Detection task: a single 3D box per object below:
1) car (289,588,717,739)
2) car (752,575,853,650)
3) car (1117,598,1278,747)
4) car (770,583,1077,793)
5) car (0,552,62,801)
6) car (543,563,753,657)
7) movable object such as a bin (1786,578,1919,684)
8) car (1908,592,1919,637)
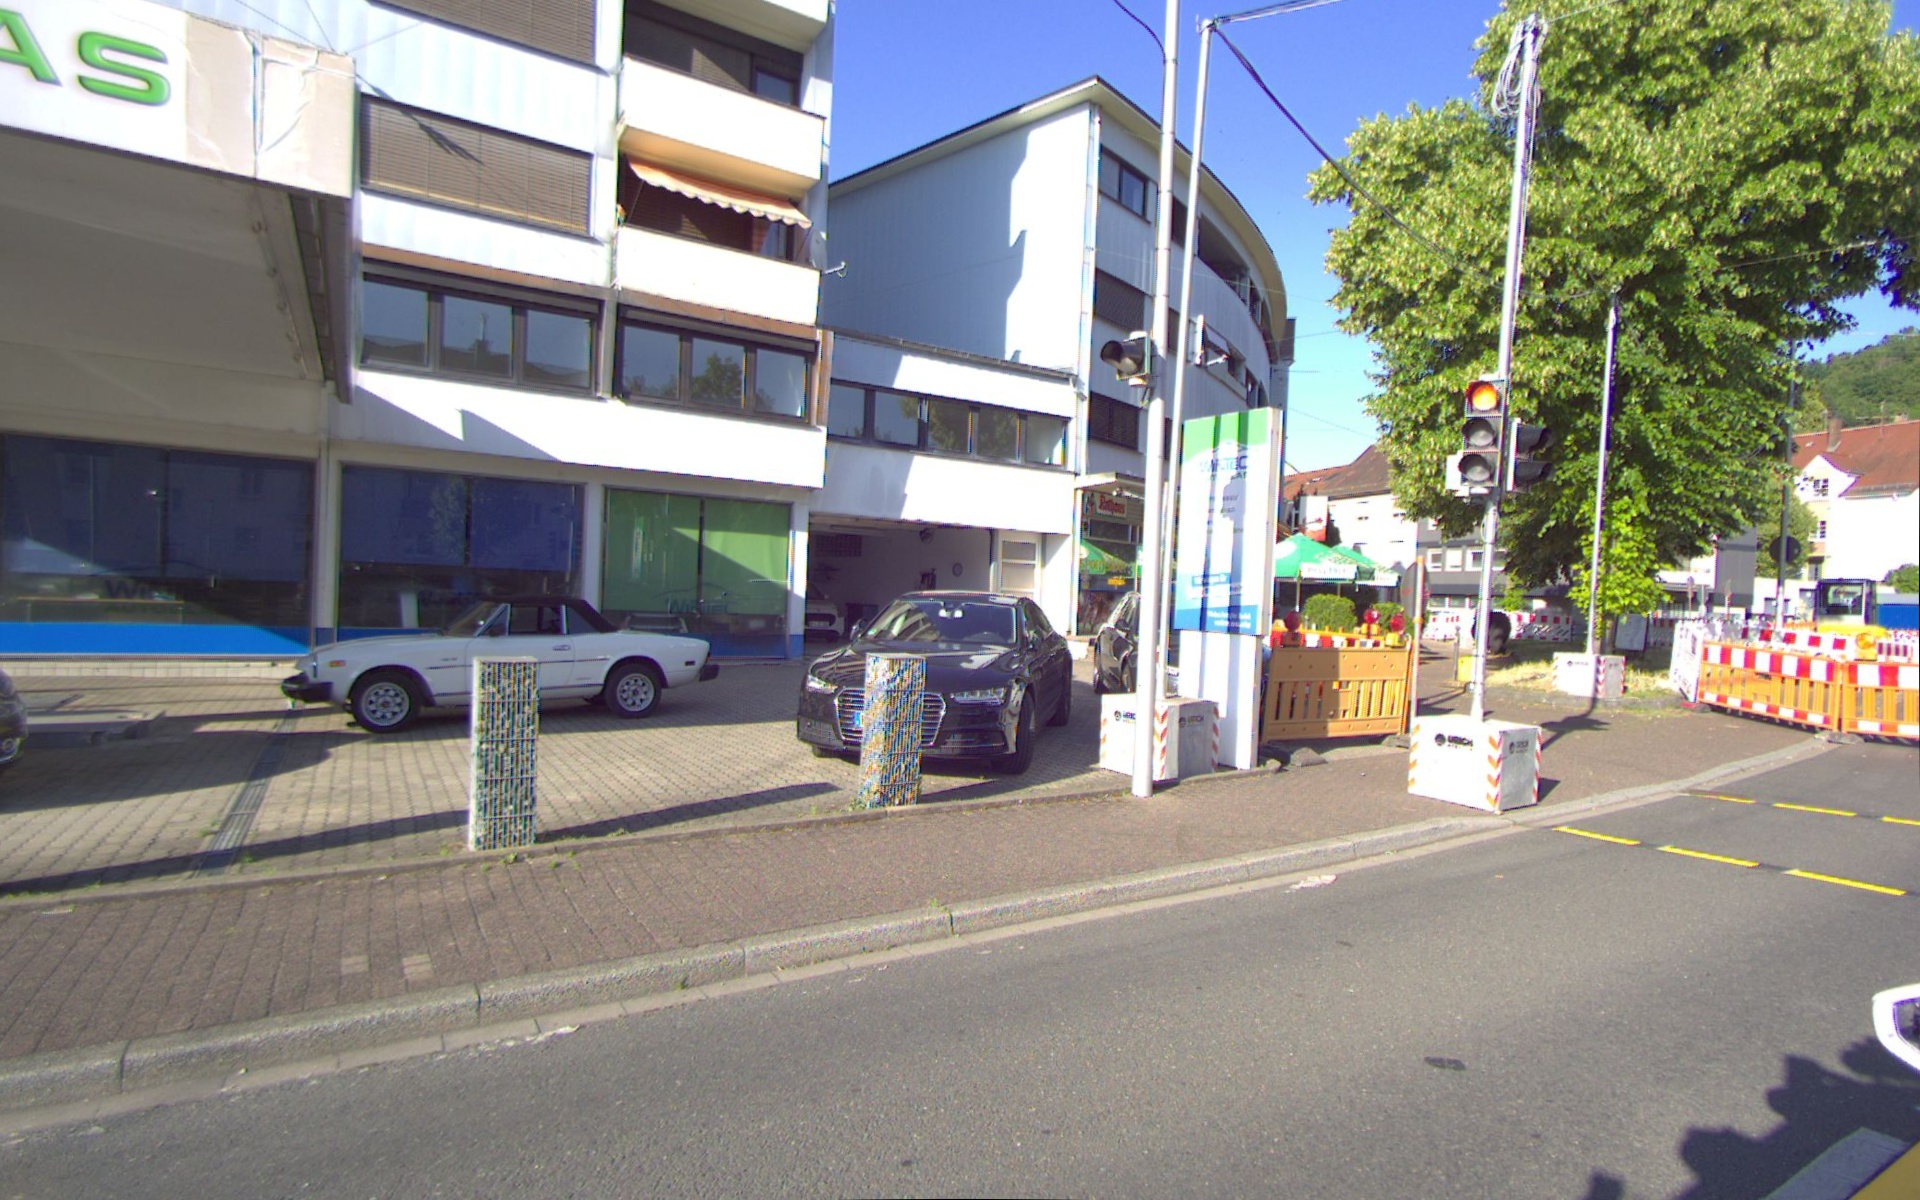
[{"bbox_3d":[-4.671,0.592,10.488,3.865,1.315,1.511,1,-1,-35],"label":"car"},{"bbox_3d":[-3.889,0.253,24.381,1.550,1.629,3.734,2,1,-23],"label":"car"},{"bbox_3d":[2.762,0.745,12.081,1.564,1.457,3.887,1,0,11],"label":"car"},{"bbox_3d":[-0.021,0.649,9.572,1.893,1.457,4.692,1,-1,11],"label":"car"},{"bbox_3d":[-7.478,0.408,5.860,3.305,1.506,1.543,2,0,8],"label":"car"},{"bbox_3d":[-6.096,0.217,19.711,3.593,1.696,1.707,2,0,-34],"label":"car"},{"bbox_3d":[21.545,0.701,24.145,3.882,2.356,1.635,1,0,-36],"label":"movable object such as a bin"},{"bbox_3d":[49.526,0.790,48.397,6.043,2.149,2.586,2,0,-12],"label":"car"}]
